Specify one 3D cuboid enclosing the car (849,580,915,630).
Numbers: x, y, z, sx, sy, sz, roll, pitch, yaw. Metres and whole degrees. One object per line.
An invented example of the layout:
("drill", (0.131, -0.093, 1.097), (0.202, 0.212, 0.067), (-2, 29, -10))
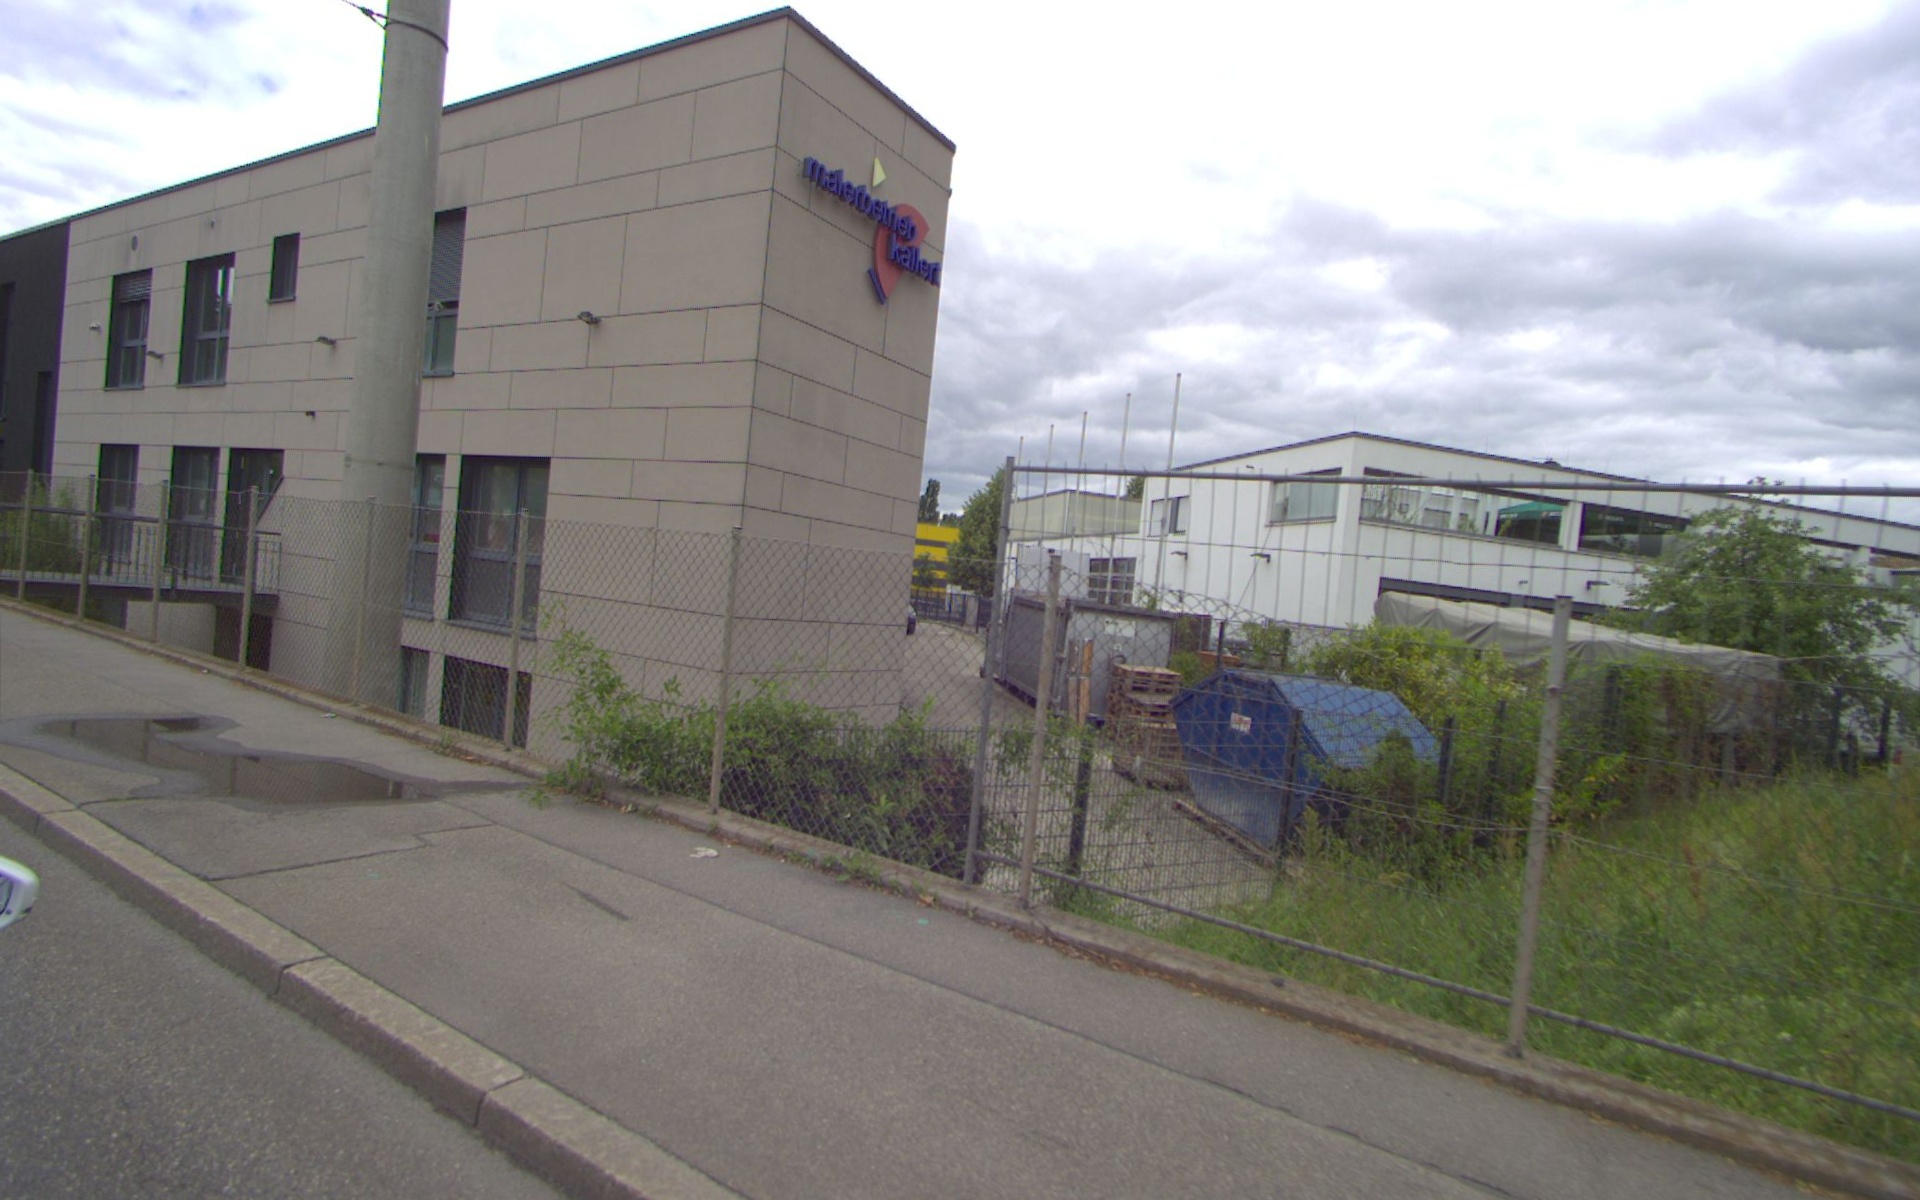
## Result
("car", (-2.875, 0.217, 36.440), (1.847, 1.593, 3.994), (3, -1, -12))
